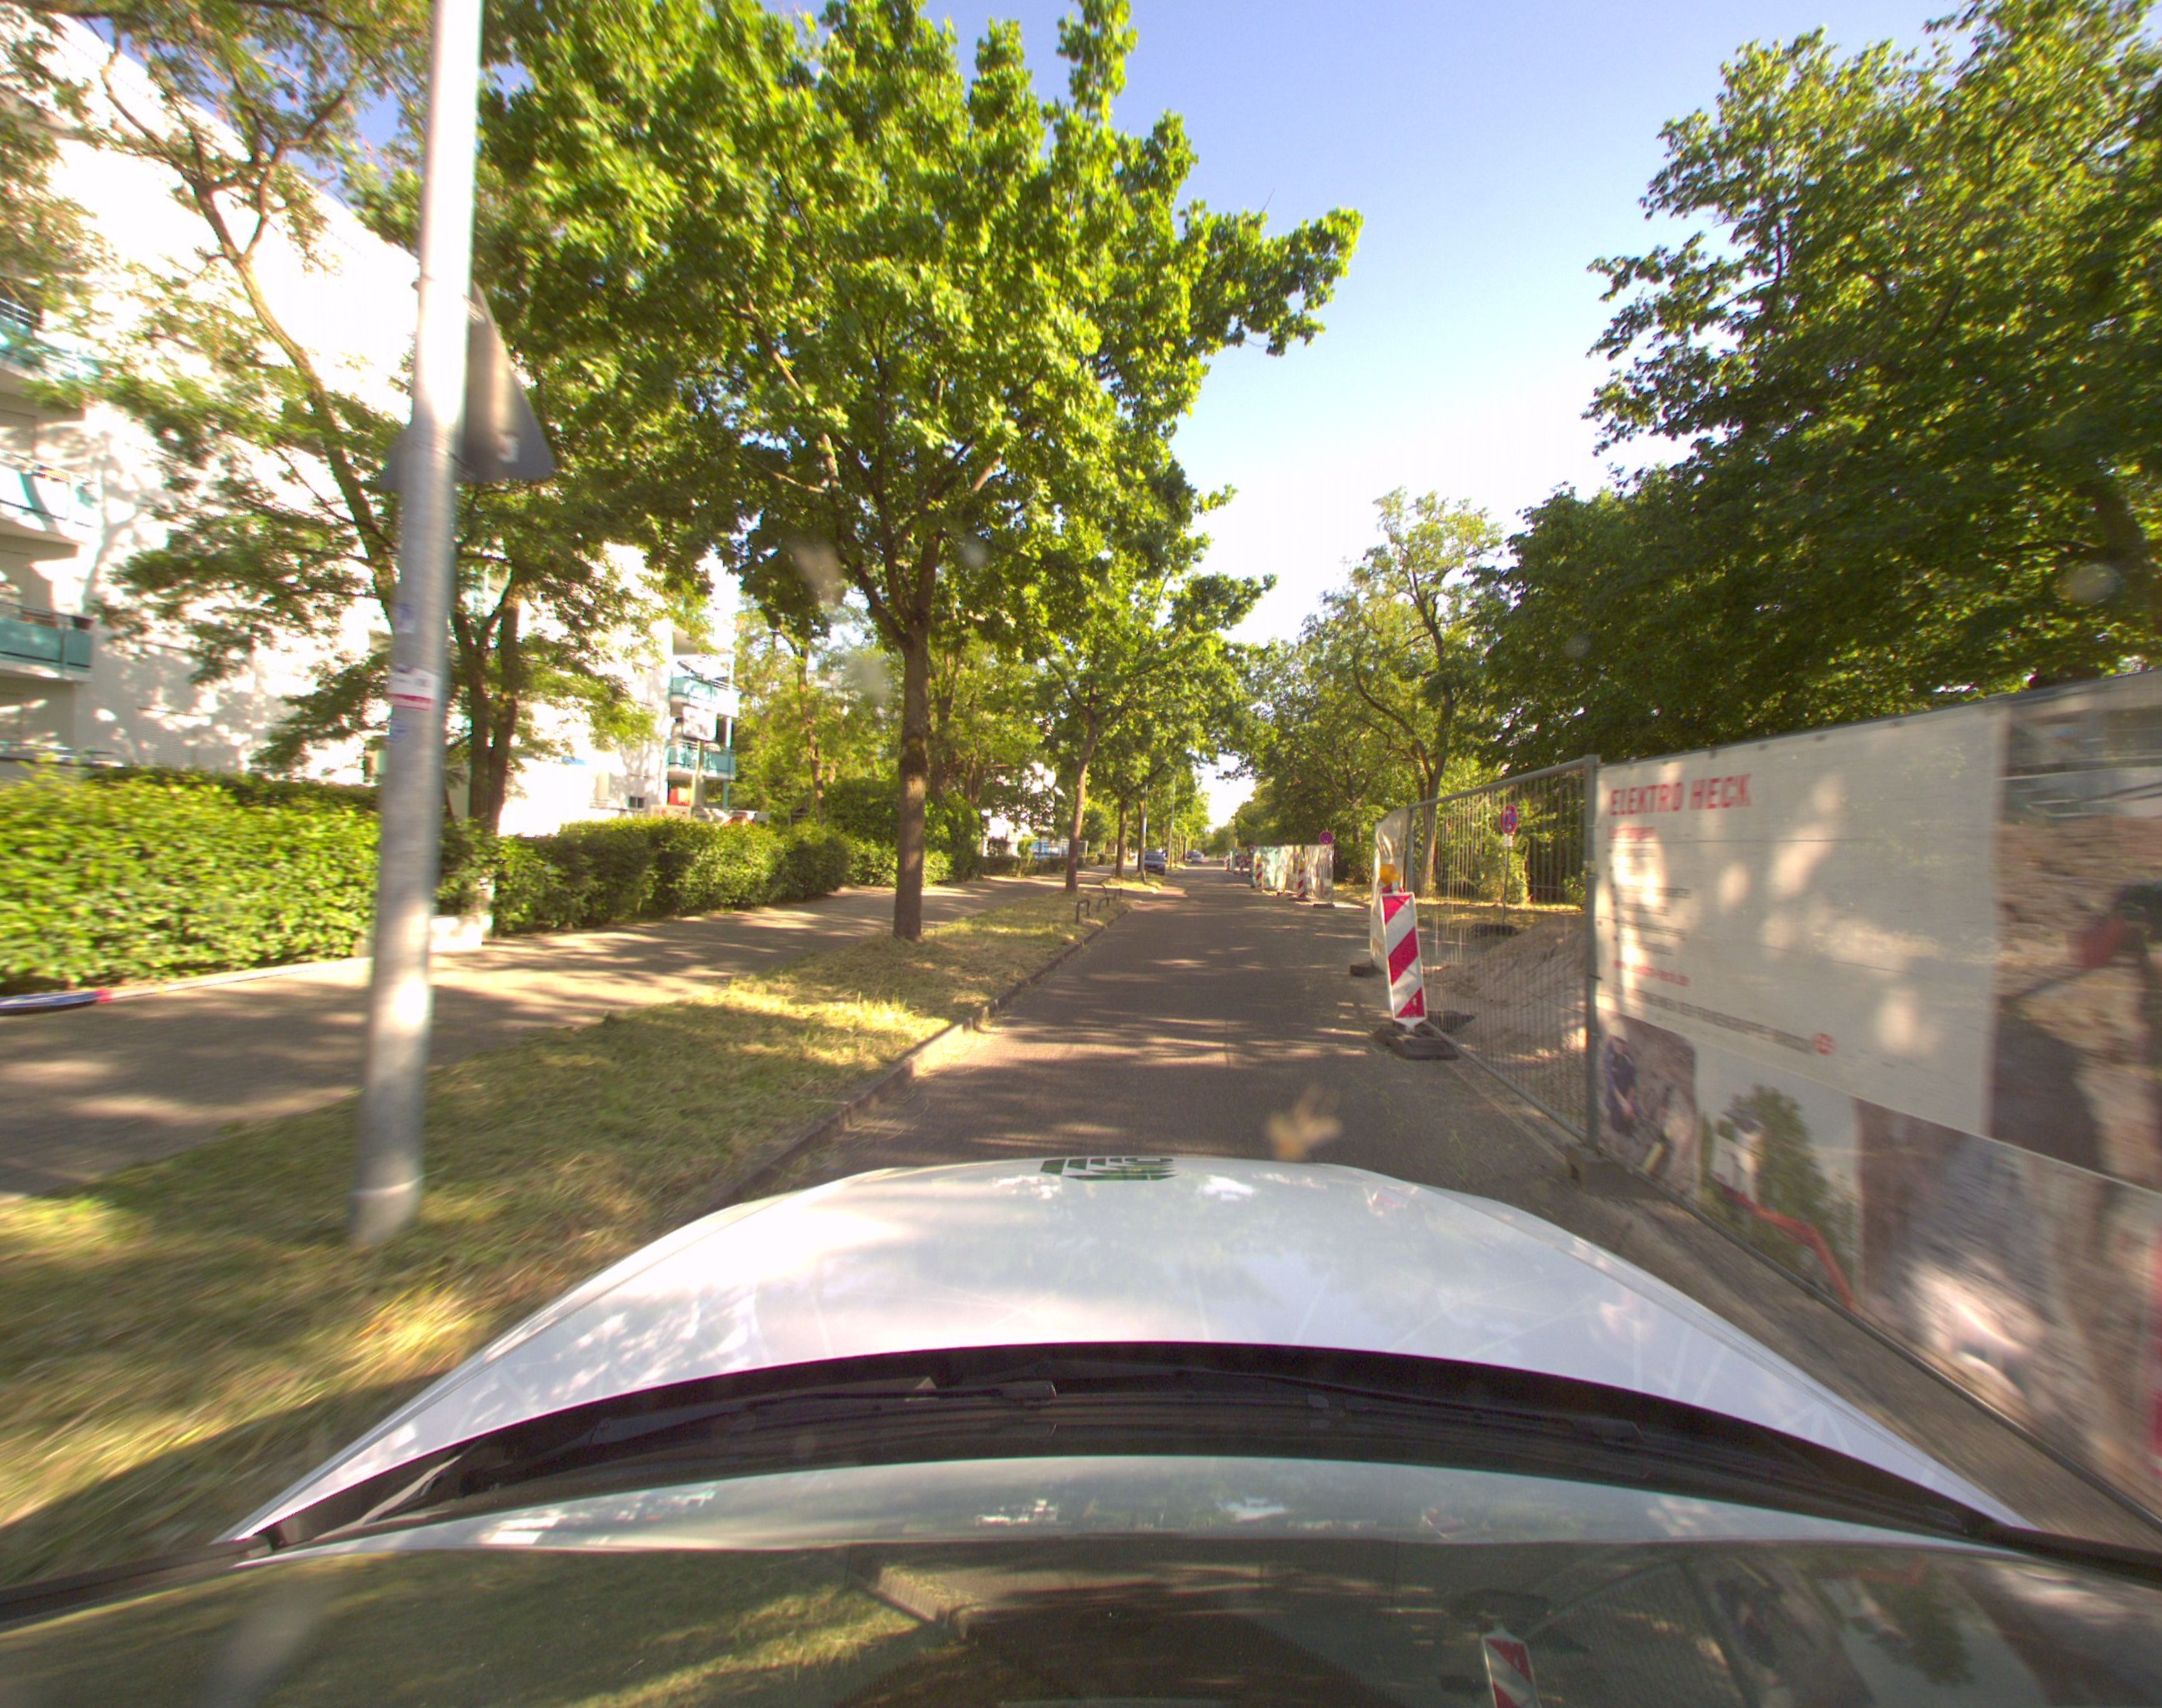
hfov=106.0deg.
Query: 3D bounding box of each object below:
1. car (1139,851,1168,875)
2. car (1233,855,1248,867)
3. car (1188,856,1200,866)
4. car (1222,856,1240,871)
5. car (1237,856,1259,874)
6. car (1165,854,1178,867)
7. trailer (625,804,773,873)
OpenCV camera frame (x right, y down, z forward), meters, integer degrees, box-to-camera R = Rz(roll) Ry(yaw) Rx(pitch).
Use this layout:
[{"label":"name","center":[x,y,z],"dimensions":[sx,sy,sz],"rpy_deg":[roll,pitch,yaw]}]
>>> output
[{"label":"car","center":[4.930,0.604,54.748],"dimensions":[1.741,1.478,3.844],"rpy_deg":[2,0,7]},{"label":"car","center":[20.771,0.914,105.880],"dimensions":[1.783,1.409,4.011],"rpy_deg":[2,0,10]},{"label":"car","center":[18.941,1.174,136.597],"dimensions":[1.702,1.585,4.005],"rpy_deg":[3,0,5]},{"label":"car","center":[14.039,0.878,76.531],"dimensions":[1.354,1.302,3.487],"rpy_deg":[3,0,6]},{"label":"car","center":[12.999,0.871,63.555],"dimensions":[1.354,1.302,3.487],"rpy_deg":[3,0,6]},{"label":"car","center":[9.977,0.740,89.782],"dimensions":[1.354,1.302,3.487],"rpy_deg":[3,0,6]},{"label":"trailer","center":[-12.565,-0.479,27.145],"dimensions":[1.962,2.042,4.448],"rpy_deg":[2,0,15]}]
